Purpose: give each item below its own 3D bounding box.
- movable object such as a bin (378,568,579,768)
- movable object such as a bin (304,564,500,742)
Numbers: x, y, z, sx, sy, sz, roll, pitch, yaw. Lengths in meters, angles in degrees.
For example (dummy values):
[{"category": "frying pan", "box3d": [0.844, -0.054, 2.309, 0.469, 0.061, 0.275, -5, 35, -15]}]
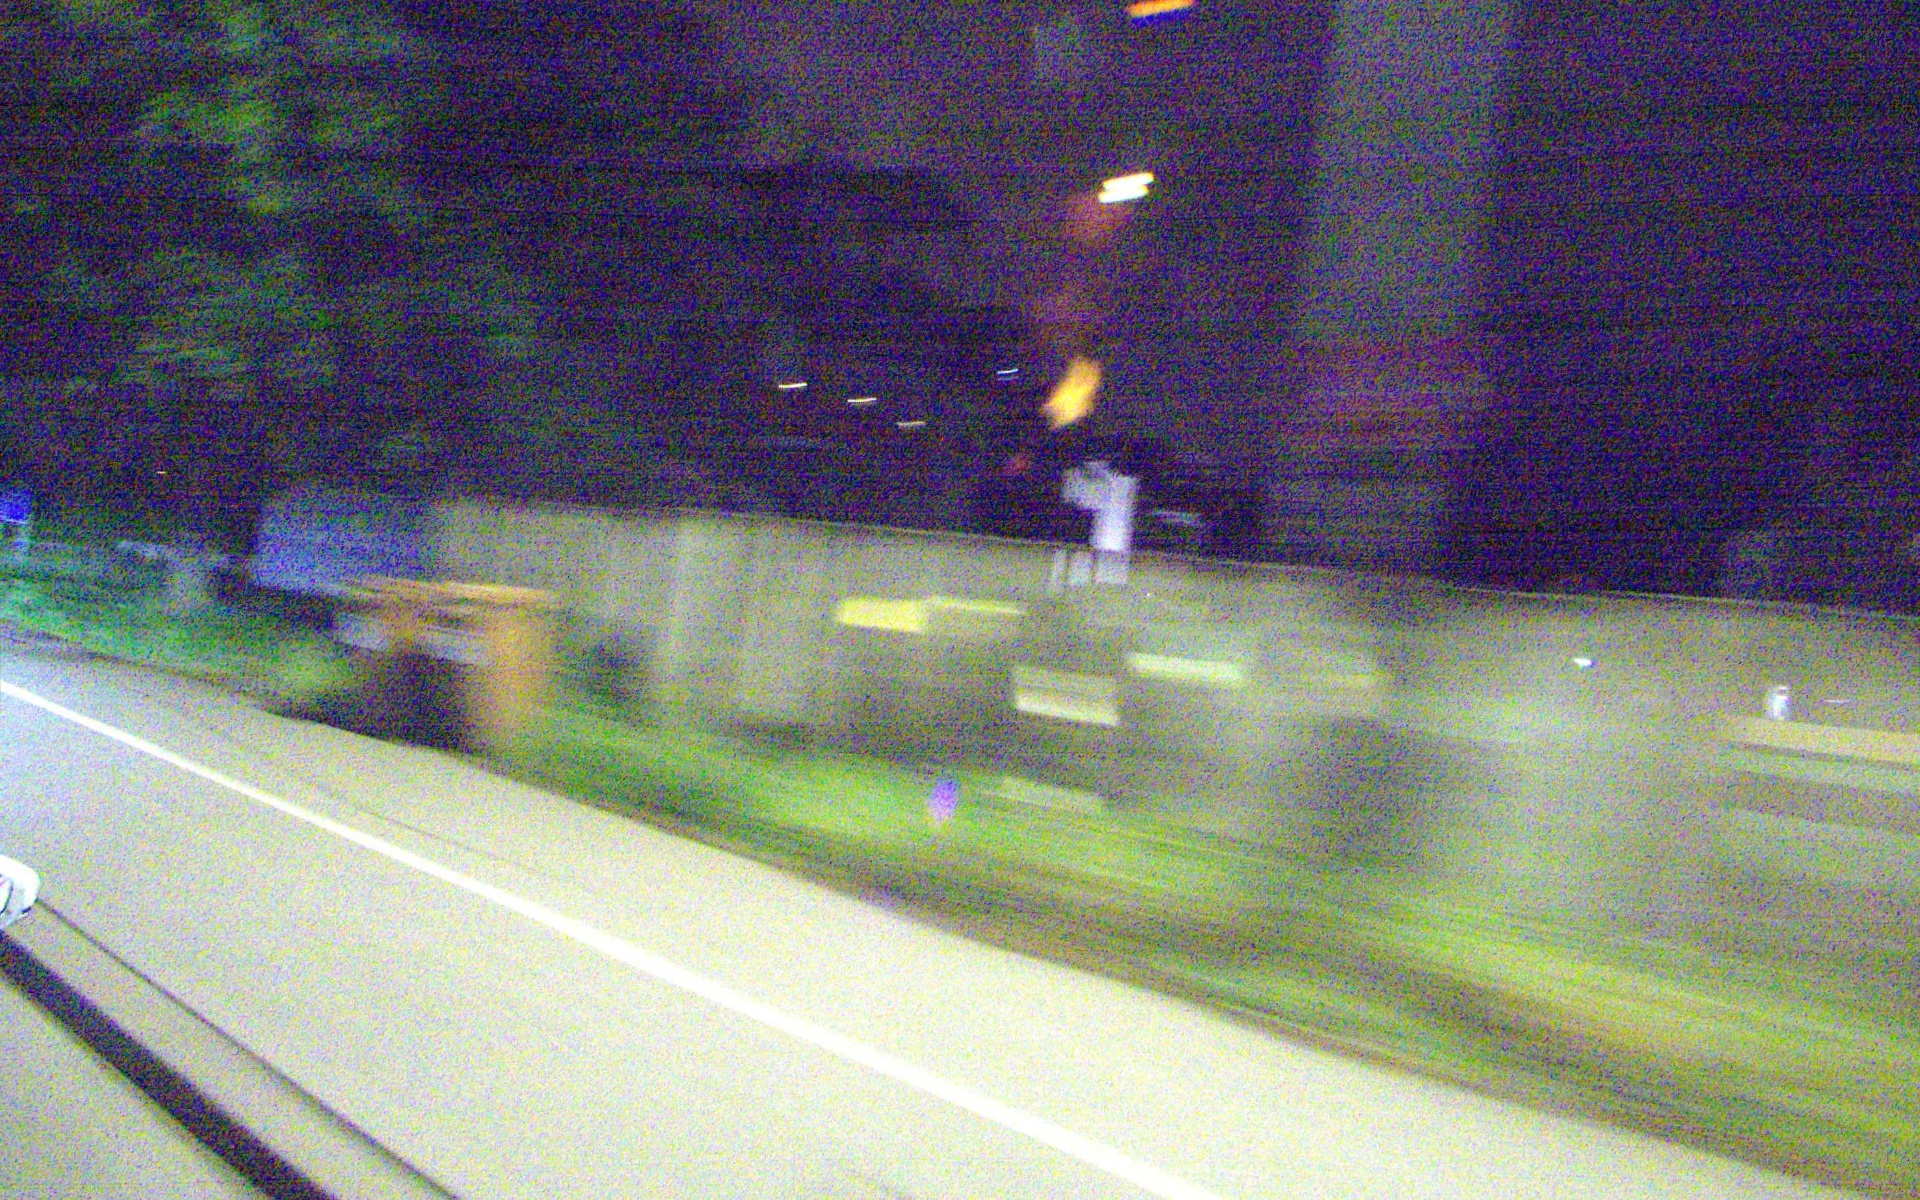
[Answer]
[{"category": "movable object such as a bin", "box3d": [-3.284, 0.457, 6.887, 0.815, 1.196, 0.834, 7, 0, 34]}, {"category": "movable object such as a bin", "box3d": [-4.038, 0.382, 7.300, 0.827, 1.133, 0.858, 7, 0, 34]}]
